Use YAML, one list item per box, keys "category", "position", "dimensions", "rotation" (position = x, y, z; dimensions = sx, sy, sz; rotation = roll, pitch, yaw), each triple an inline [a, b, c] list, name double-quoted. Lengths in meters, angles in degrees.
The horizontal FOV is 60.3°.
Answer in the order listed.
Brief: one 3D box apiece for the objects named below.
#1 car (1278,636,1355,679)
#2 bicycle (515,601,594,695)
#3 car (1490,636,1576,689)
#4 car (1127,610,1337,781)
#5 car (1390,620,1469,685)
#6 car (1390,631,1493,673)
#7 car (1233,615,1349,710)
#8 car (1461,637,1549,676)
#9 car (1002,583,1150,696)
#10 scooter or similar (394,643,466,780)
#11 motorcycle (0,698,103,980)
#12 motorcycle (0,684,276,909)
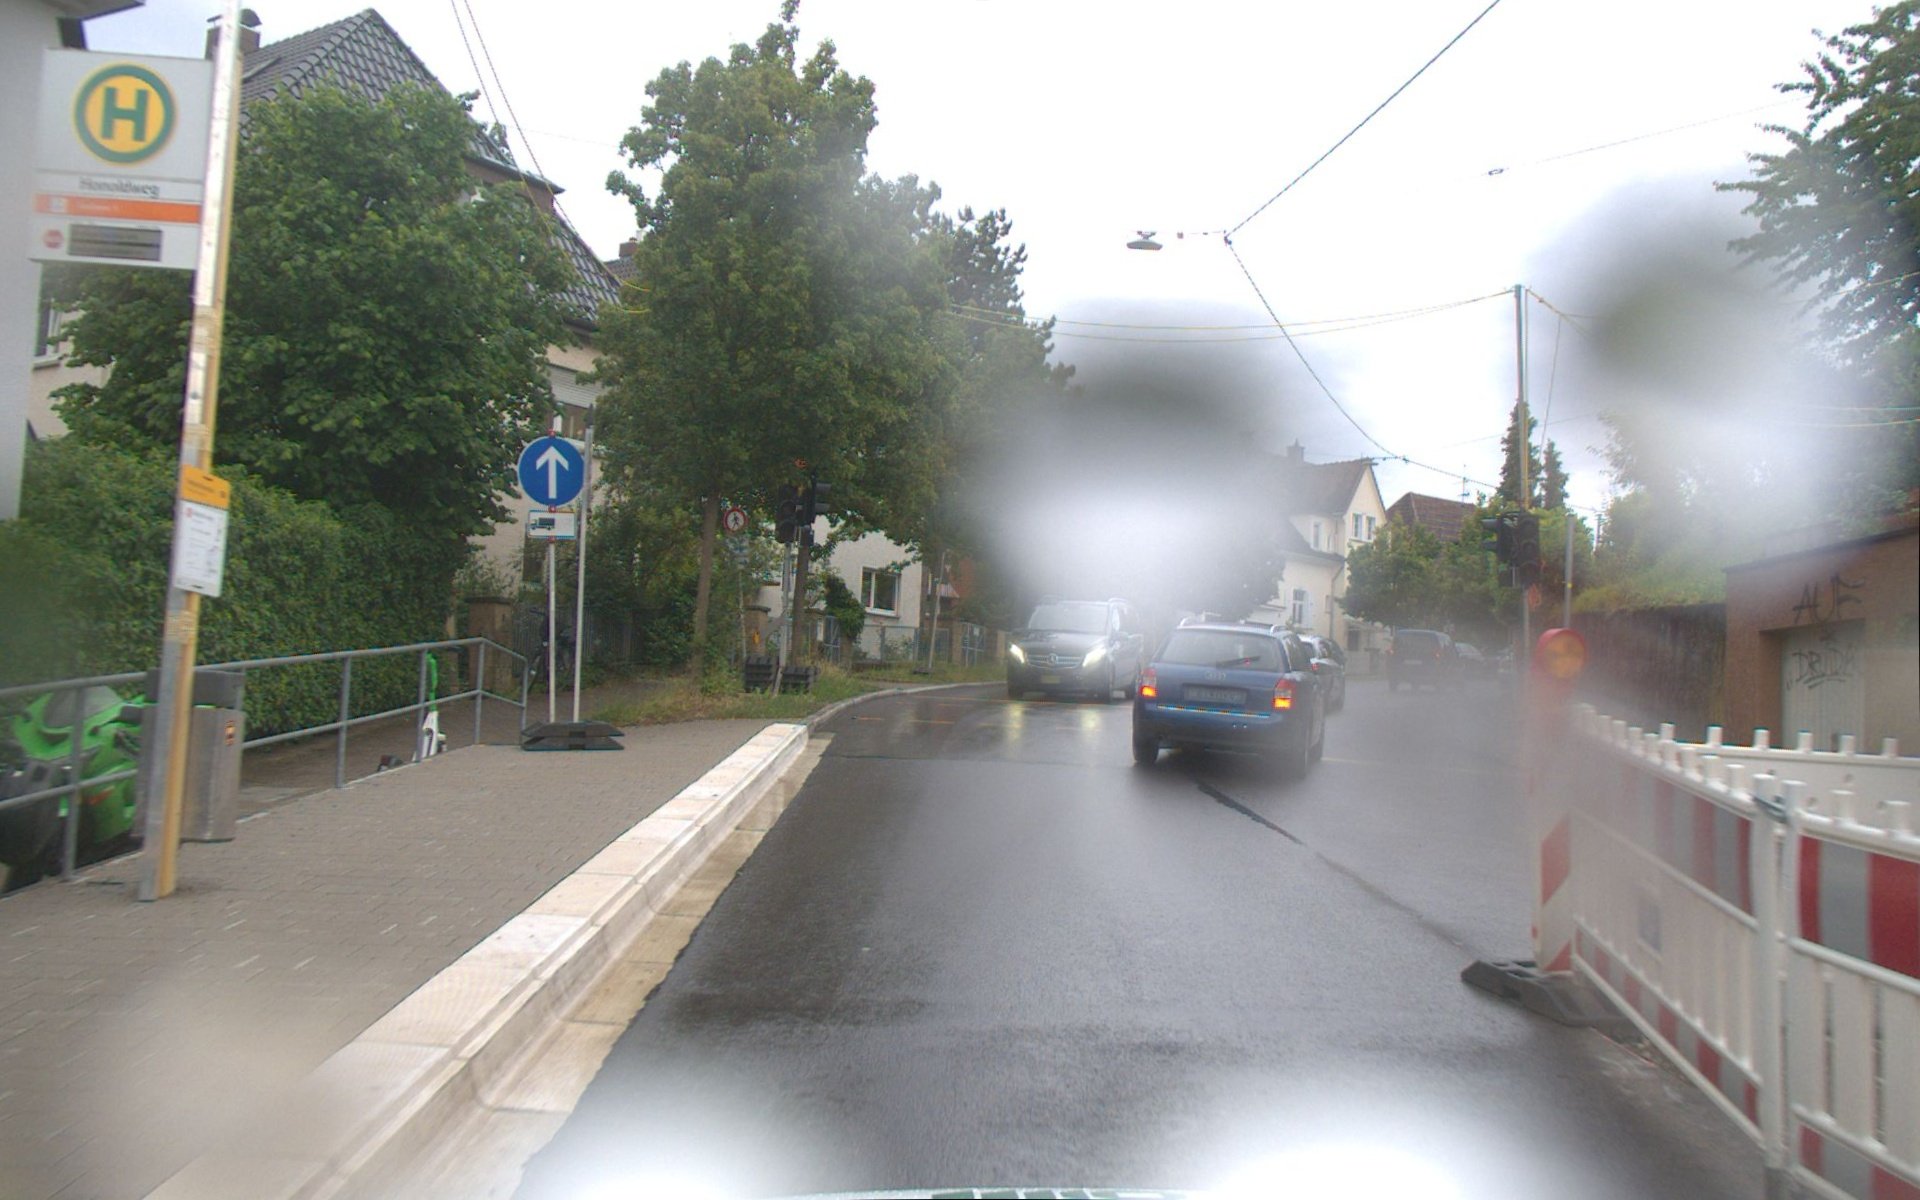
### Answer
- category: "car"
  position: [12.875, 2.069, 59.568]
  dimensions: [1.638, 1.492, 3.887]
  rotation: [0, -2, 29]
- category: "bicycle"
  position: [-6.033, 0.684, 24.701]
  dimensions: [0.480, 1.294, 2.273]
  rotation: [4, 0, 1]
- category: "car"
  position: [20.717, 2.233, 59.739]
  dimensions: [1.705, 1.800, 4.217]
  rotation: [1, 0, 37]
- category: "car"
  position: [2.927, 0.882, 17.128]
  dimensions: [1.697, 1.492, 4.003]
  rotation: [0, 0, 16]
- category: "car"
  position: [14.236, 1.544, 49.992]
  dimensions: [1.699, 1.800, 4.233]
  rotation: [0, 0, 24]
- category: "car"
  position: [19.809, 2.150, 67.949]
  dimensions: [4.865, 1.572, 1.843]
  rotation: [3, -2, -43]
- category: "car"
  position: [6.615, 1.169, 32.721]
  dimensions: [1.933, 1.663, 4.238]
  rotation: [0, 0, 16]
- category: "car"
  position: [23.497, 2.436, 71.268]
  dimensions: [4.171, 1.572, 1.713]
  rotation: [3, -2, -41]
- category: "car"
  position: [2.291, 0.748, 31.199]
  dimensions: [1.856, 1.923, 5.156]
  rotation: [1, -2, 14]
- category: "scooter or similar"
  position: [-4.482, 0.921, 14.021]
  dimensions: [0.317, 1.099, 1.094]
  rotation: [0, -1, -4]
- category: "motorcycle"
  position: [-4.091, 0.968, 6.327]
  dimensions: [0.653, 1.054, 2.150]
  rotation: [1, 0, -5]
- category: "motorcycle"
  position: [-4.297, 0.973, 8.755]
  dimensions: [0.653, 0.950, 2.008]
  rotation: [1, 0, -5]
